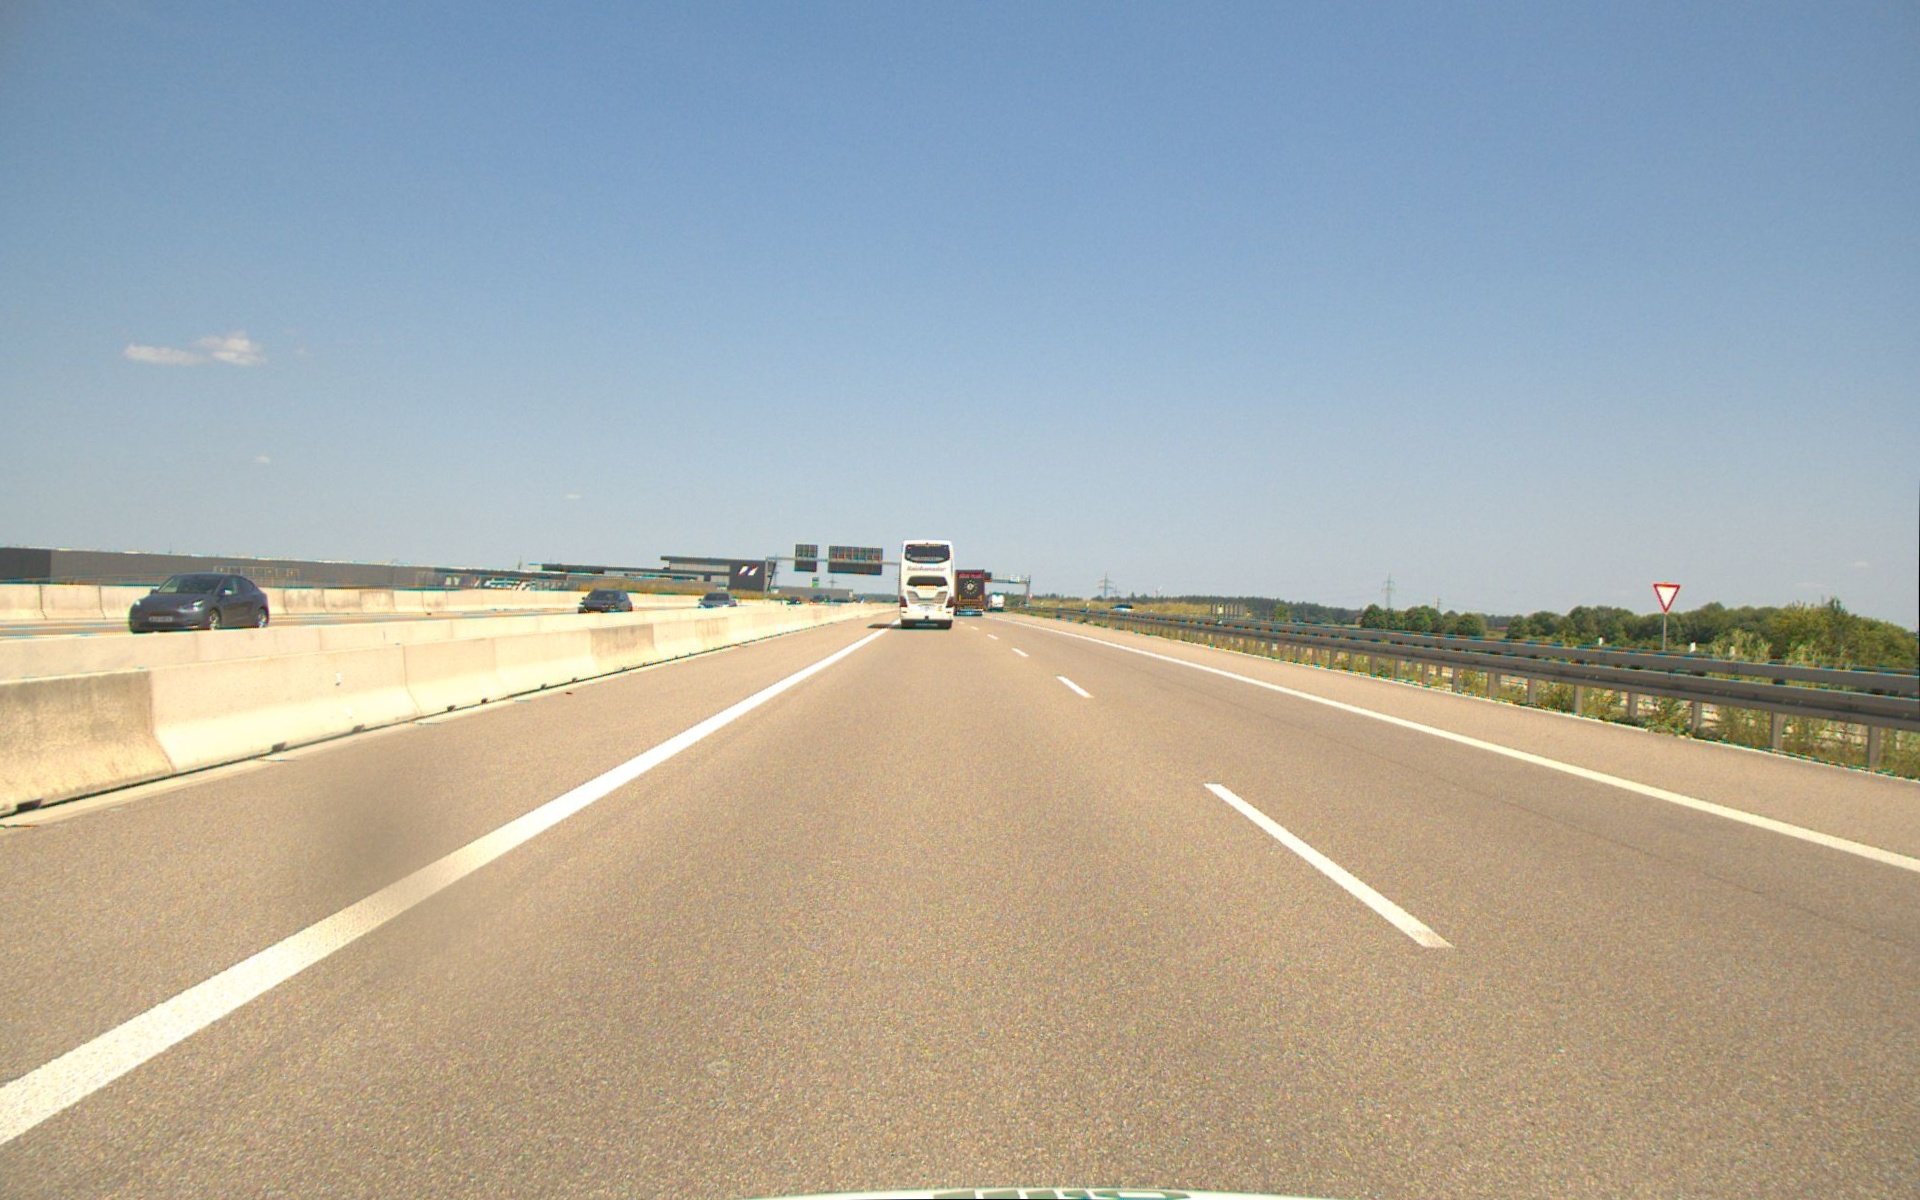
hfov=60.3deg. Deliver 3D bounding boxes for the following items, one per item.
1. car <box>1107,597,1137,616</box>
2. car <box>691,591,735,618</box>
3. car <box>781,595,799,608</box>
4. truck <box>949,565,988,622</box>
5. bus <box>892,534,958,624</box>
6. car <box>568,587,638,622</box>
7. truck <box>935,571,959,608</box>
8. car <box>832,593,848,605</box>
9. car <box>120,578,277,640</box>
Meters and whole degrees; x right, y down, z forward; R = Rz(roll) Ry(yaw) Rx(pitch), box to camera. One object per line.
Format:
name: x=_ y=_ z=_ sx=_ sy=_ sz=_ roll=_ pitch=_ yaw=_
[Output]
car: x=13.531 y=0.526 z=138.378 sx=1.853 sy=1.556 sz=4.259 roll=1 pitch=0 yaw=-3
car: x=-13.828 y=0.251 z=92.844 sx=1.805 sy=1.445 sz=4.524 roll=1 pitch=0 yaw=-1
car: x=-21.467 y=0.188 z=208.927 sx=1.871 sy=1.485 sz=4.282 roll=1 pitch=0 yaw=-2
truck: x=0.824 y=-0.489 z=151.094 sx=3.310 sy=4.542 sz=13.566 roll=2 pitch=-2 yaw=1
bus: x=-1.758 y=-0.974 z=79.920 sx=2.920 sy=4.044 sz=9.101 roll=1 pitch=0 yaw=-2
car: x=-15.904 y=0.195 z=73.962 sx=1.873 sy=1.445 sz=4.910 roll=1 pitch=0 yaw=2
truck: x=-1.457 y=-1.148 z=182.288 sx=2.388 sy=3.855 sz=6.491 roll=1 pitch=0 yaw=-2
car: x=-17.576 y=-0.183 z=243.001 sx=1.952 sy=1.698 sz=4.649 roll=1 pitch=0 yaw=1
car: x=-19.161 y=0.204 z=41.847 sx=1.872 sy=1.445 sz=4.549 roll=1 pitch=0 yaw=-1
